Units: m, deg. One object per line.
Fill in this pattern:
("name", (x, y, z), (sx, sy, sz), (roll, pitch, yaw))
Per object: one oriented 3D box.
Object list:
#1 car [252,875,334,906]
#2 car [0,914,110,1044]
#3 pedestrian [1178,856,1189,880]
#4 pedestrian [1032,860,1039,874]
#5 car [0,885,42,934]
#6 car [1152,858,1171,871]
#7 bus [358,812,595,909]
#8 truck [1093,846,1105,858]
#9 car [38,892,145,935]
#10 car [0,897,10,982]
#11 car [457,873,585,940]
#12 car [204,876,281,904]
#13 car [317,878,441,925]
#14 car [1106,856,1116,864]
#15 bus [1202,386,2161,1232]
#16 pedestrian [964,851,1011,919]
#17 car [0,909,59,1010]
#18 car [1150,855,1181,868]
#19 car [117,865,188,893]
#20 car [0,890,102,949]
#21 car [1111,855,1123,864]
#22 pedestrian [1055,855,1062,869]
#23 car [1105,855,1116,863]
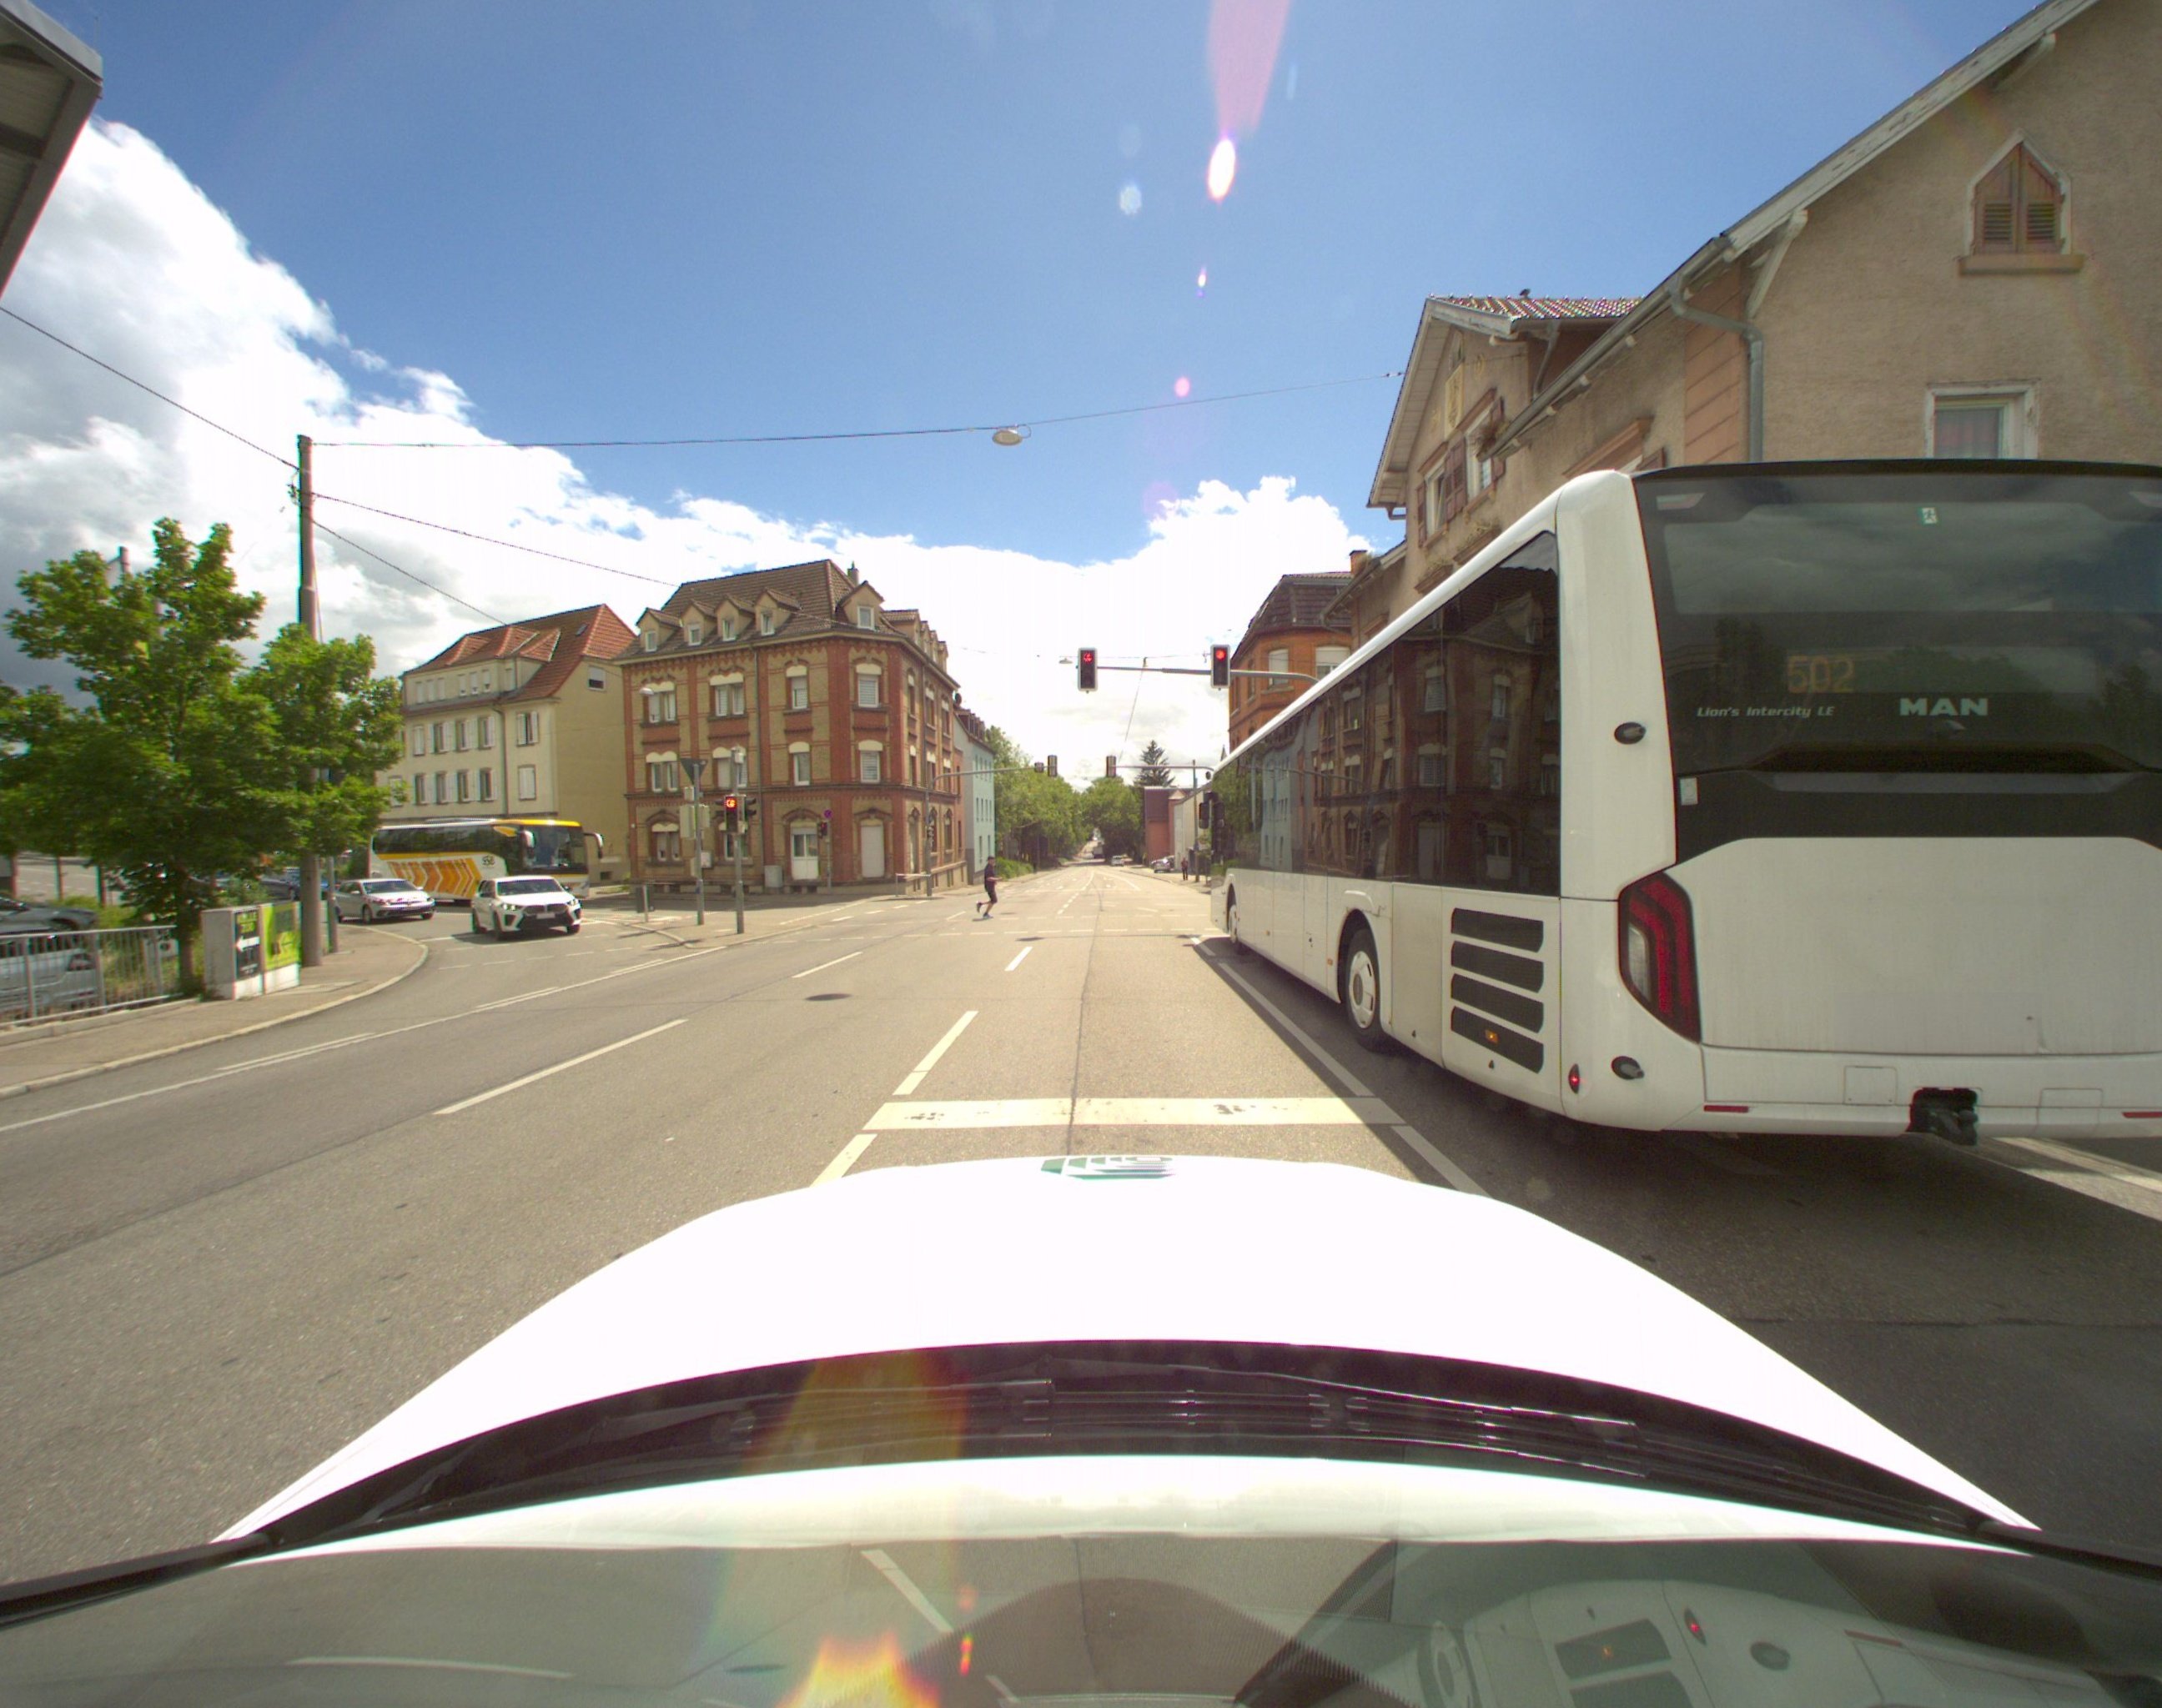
("car", (-38.825, 1.770, 40.098), (3.949, 1.409, 1.762), (-2, 0, 28))
("car", (-16.038, 1.808, 12.028), (3.321, 1.560, 1.692), (-1, 2, 32))
("pedestrian", (7.757, 1.052, 61.582), (0.736, 1.750, 0.619), (-2, 0, 1))
("pedestrian", (-5.318, 1.498, 94.953), (0.727, 1.565, 0.561), (-1, -1, 0))
("car", (-36.353, 1.863, 25.733), (1.785, 1.553, 4.023), (-2, 0, 25))
("car", (9.225, 1.167, 93.024), (1.788, 1.409, 4.000), (-2, 0, 1))
("bus", (-25.601, 0.338, 34.205), (12.110, 3.621, 2.788), (-1, 0, 27))
("truck", (4.808, -0.624, 222.610), (2.917, 3.081, 7.883), (-2, 0, 0))
("car", (-37.448, 2.233, 30.812), (3.456, 1.448, 1.811), (-2, 0, 26))
("car", (-23.471, 1.762, 16.487), (3.455, 1.680, 1.663), (-1, 2, 30))
("car", (-15.248, 1.371, 22.081), (4.251, 1.552, 1.845), (-3, 0, 42))
("car", (-45.785, 1.971, 44.459), (3.949, 1.409, 1.923), (-2, 0, 29))
("car", (-23.682, 1.584, 27.468), (3.575, 1.418, 1.895), (-2, 0, 26))
("car", (5.761, 1.117, 154.410), (1.787, 1.409, 4.421), (-1, 0, 3))
("bus", (3.479, -0.164, 9.334), (2.662, 3.155, 12.467), (-2, 0, 2))
("pedestrian", (-2.472, 0.801, 21.537), (1.138, 1.734, 0.758), (-2, 0, -3))
("car", (-19.566, 1.847, 14.172), (3.455, 1.526, 1.626), (-1, 2, 29))
("car", (11.771, 1.035, 113.079), (3.978, 1.757, 1.998), (-2, 0, -3))
("car", (-53.658, 1.447, 47.069), (3.949, 1.554, 1.923), (-2, 0, 29))
("car", (-29.555, 1.815, 22.158), (1.777, 1.477, 3.522), (-2, 0, 32))
("car", (5.760, 0.941, 129.501), (1.788, 1.409, 4.000), (-1, 0, 1))
("pedestrian", (-3.464, 1.221, 126.287), (0.991, 2.013, 1.189), (-2, 0, 1))
("car", (5.286, 0.978, 145.921), (1.787, 1.409, 4.421), (-1, 0, 3))
